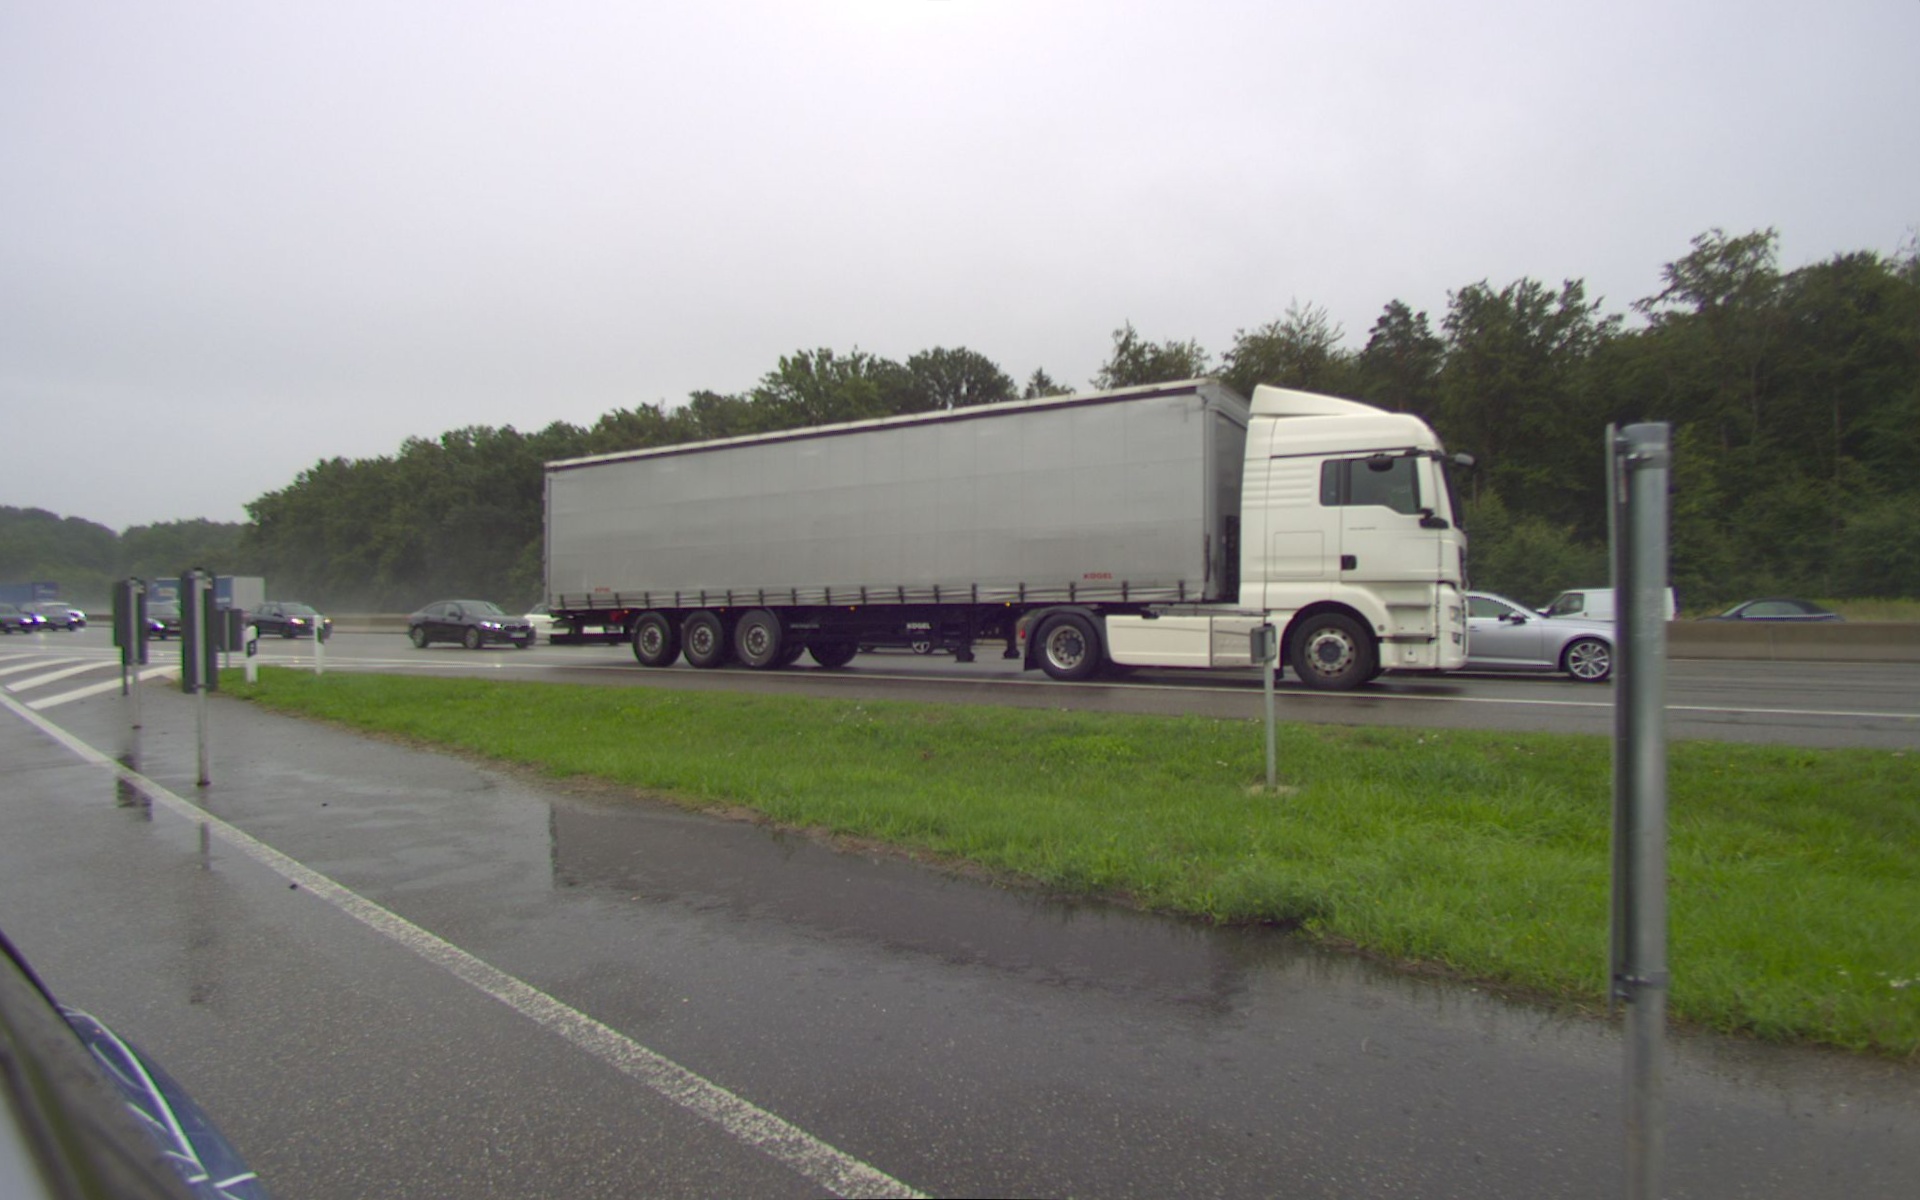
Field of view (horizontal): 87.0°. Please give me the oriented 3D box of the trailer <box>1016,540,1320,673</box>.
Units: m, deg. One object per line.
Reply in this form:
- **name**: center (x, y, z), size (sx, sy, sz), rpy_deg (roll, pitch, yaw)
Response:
- **trailer**: center (3.799, 0.171, 18.788), size (5.159, 2.172, 2.114), rpy_deg (-1, -2, 30)

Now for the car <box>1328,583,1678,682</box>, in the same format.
- **car**: center (8.304, 0.505, 15.821), size (4.564, 1.358, 1.833), rpy_deg (-1, -2, 30)

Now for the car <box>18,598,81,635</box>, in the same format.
- **car**: center (-52.024, 0.944, 57.819), size (3.991, 2.029, 1.841), rpy_deg (-1, -1, 35)

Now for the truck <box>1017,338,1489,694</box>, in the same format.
- **truck**: center (4.067, -0.904, 14.302), size (5.912, 4.083, 2.852), rpy_deg (-1, -2, 31)

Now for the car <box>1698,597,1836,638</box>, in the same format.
- **car**: center (23.060, 0.469, 29.028), size (2.878, 1.089, 1.428), rpy_deg (0, 1, 30)

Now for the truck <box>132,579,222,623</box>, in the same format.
- **truck**: center (-76.515, 0.061, 98.812), size (10.518, 4.008, 3.040), rpy_deg (0, 4, 31)

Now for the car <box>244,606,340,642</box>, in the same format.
- **car**: center (-28.195, 1.012, 42.672), size (4.108, 1.425, 1.805), rpy_deg (-2, -2, 31)

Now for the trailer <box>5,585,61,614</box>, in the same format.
- **trailer**: center (-114.723, -0.034, 125.180), size (11.374, 3.443, 2.708), rpy_deg (-1, 0, 36)

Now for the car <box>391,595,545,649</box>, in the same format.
- **car**: center (-14.615, 0.644, 30.008), size (4.482, 1.492, 1.868), rpy_deg (-1, -1, 28)

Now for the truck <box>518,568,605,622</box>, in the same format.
- **truck**: center (-26.556, -0.276, 67.361), size (5.585, 3.478, 2.625), rpy_deg (-1, 0, 33)

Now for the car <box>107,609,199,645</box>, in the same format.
- **car**: center (-32.315, 1.074, 40.494), size (3.990, 1.383, 1.803), rpy_deg (-1, -1, 34)

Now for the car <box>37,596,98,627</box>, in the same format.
- **car**: center (-59.228, 0.764, 67.160), size (3.985, 2.029, 1.979), rpy_deg (-1, -1, 31)

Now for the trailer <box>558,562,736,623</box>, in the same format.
- **trailer**: center (-19.637, -0.357, 62.830), size (13.446, 3.524, 2.627), rpy_deg (-1, 0, 33)

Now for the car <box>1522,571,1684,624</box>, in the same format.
- **car**: center (23.587, -0.082, 37.349), size (4.907, 1.849, 1.979), rpy_deg (-1, 2, 31)

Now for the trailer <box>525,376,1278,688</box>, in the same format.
- **trailer**: center (-1.897, -0.778, 17.844), size (14.064, 4.013, 2.874), rpy_deg (-1, -2, 31)

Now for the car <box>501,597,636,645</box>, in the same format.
- **car**: center (-13.000, 0.674, 33.562), size (4.487, 1.492, 1.866), rpy_deg (0, -1, 31)

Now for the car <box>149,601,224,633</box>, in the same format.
- **car**: center (-42.905, 0.935, 56.103), size (4.388, 1.681, 1.805), rpy_deg (0, -1, 31)

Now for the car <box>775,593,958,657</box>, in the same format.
- **car**: center (-2.486, 0.637, 26.555), size (4.512, 1.552, 1.979), rpy_deg (0, -1, 32)

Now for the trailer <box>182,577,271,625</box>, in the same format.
- **trailer**: center (-68.041, 0.048, 93.793), size (9.130, 4.076, 3.070), rpy_deg (0, 4, 30)

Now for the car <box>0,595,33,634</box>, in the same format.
- **car**: center (-48.840, 0.741, 51.407), size (3.990, 1.918, 1.746), rpy_deg (-1, 0, 35)
